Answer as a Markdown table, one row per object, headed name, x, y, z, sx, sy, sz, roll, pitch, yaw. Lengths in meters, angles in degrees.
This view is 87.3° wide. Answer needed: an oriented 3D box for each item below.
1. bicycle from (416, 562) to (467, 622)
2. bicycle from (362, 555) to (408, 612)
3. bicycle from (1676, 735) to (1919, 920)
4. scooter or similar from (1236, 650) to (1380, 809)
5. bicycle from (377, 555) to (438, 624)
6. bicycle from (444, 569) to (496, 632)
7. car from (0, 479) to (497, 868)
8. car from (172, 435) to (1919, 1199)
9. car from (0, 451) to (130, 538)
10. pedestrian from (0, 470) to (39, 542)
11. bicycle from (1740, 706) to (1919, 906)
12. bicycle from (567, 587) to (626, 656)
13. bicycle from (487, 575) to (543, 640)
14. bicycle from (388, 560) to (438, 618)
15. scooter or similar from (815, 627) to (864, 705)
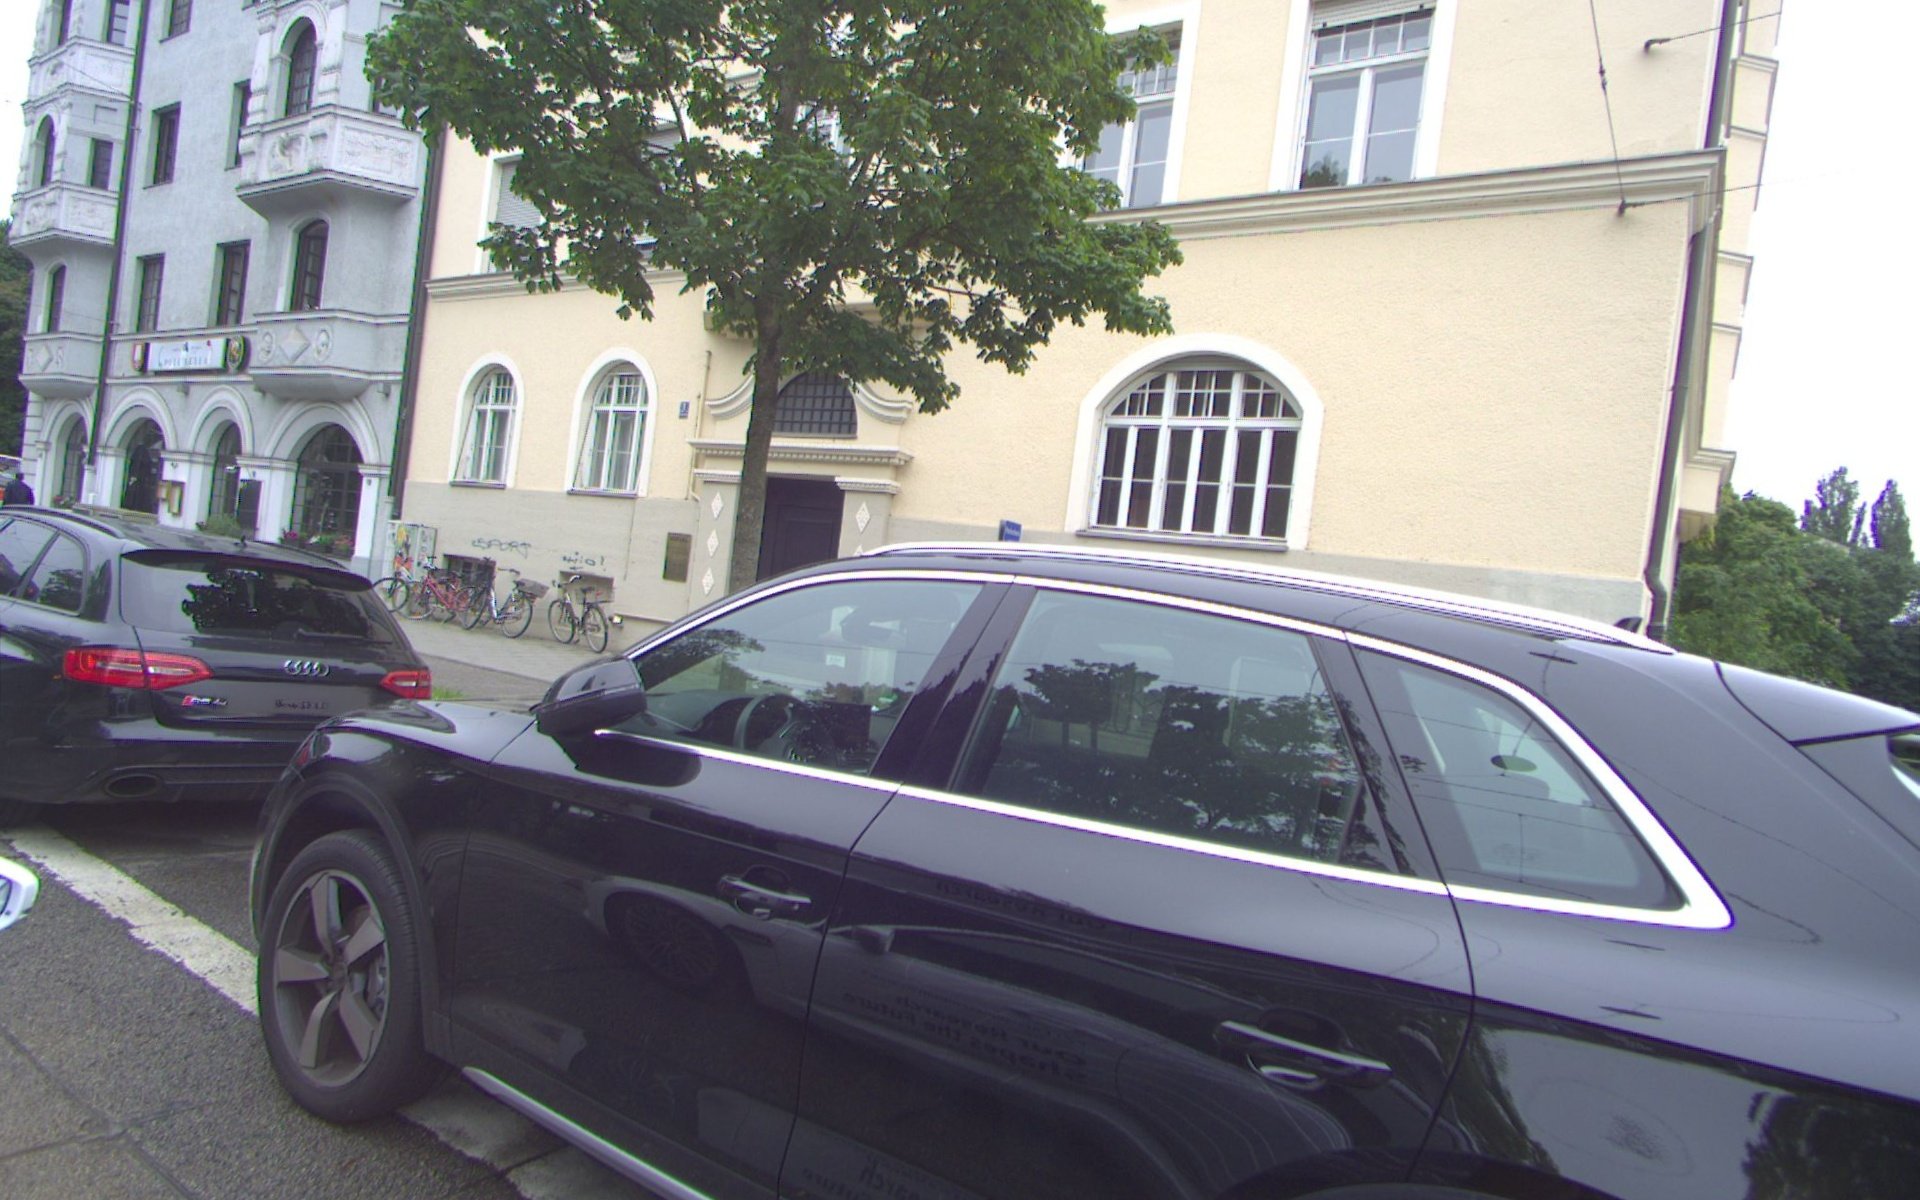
| name | x | y | z | sx | sy | sz | roll | pitch | yaw |
| --- | --- | --- | --- | --- | --- | --- | --- | --- | --- |
| bicycle | -9.029 | -0.140 | 17.515 | 0.871 | 0.941 | 0.306 | 7 | -1 | 34 |
| bicycle | -10.590 | -0.306 | 18.525 | 0.871 | 0.941 | 0.259 | 7 | -1 | 33 |
| bicycle | 6.544 | 1.738 | 7.853 | 1.417 | 1.119 | 0.287 | 7 | 0 | 24 |
| scooter or similar | 3.315 | 1.217 | 9.627 | 1.123 | 1.328 | 0.262 | 7 | -1 | 32 |
| bicycle | -9.542 | -0.190 | 17.373 | 1.203 | 1.051 | 0.242 | 7 | -1 | 32 |
| bicycle | -8.262 | 0.006 | 16.960 | 0.871 | 0.941 | 0.273 | 7 | -1 | 33 |
| car | -4.877 | 0.158 | 5.711 | 4.525 | 1.442 | 1.720 | 7 | -2 | 31 |
| car | 0.118 | 0.656 | 2.514 | 4.414 | 1.677 | 1.777 | 7 | -2 | 32 |
| car | -36.448 | -4.236 | 39.503 | 2.192 | 2.642 | 5.311 | 7 | -2 | 29 |
| pedestrian | -24.924 | -2.469 | 26.422 | 0.829 | 1.752 | 0.706 | 7 | -1 | 32 |
| bicycle | 7.014 | 1.588 | 7.680 | 1.511 | 1.327 | 0.332 | 7 | -1 | 30 |
| bicycle | -5.504 | 0.320 | 15.233 | 0.871 | 0.941 | 0.222 | 7 | -1 | 31 |
| bicycle | -7.182 | 0.122 | 16.218 | 0.871 | 0.941 | 0.285 | 7 | -1 | 33 |
| bicycle | -9.813 | -0.200 | 18.041 | 0.871 | 0.941 | 0.291 | 7 | -1 | 33 |
| scooter or similar | -1.522 | 0.830 | 12.704 | 0.413 | 0.921 | 0.348 | 8 | -1 | 11 |
